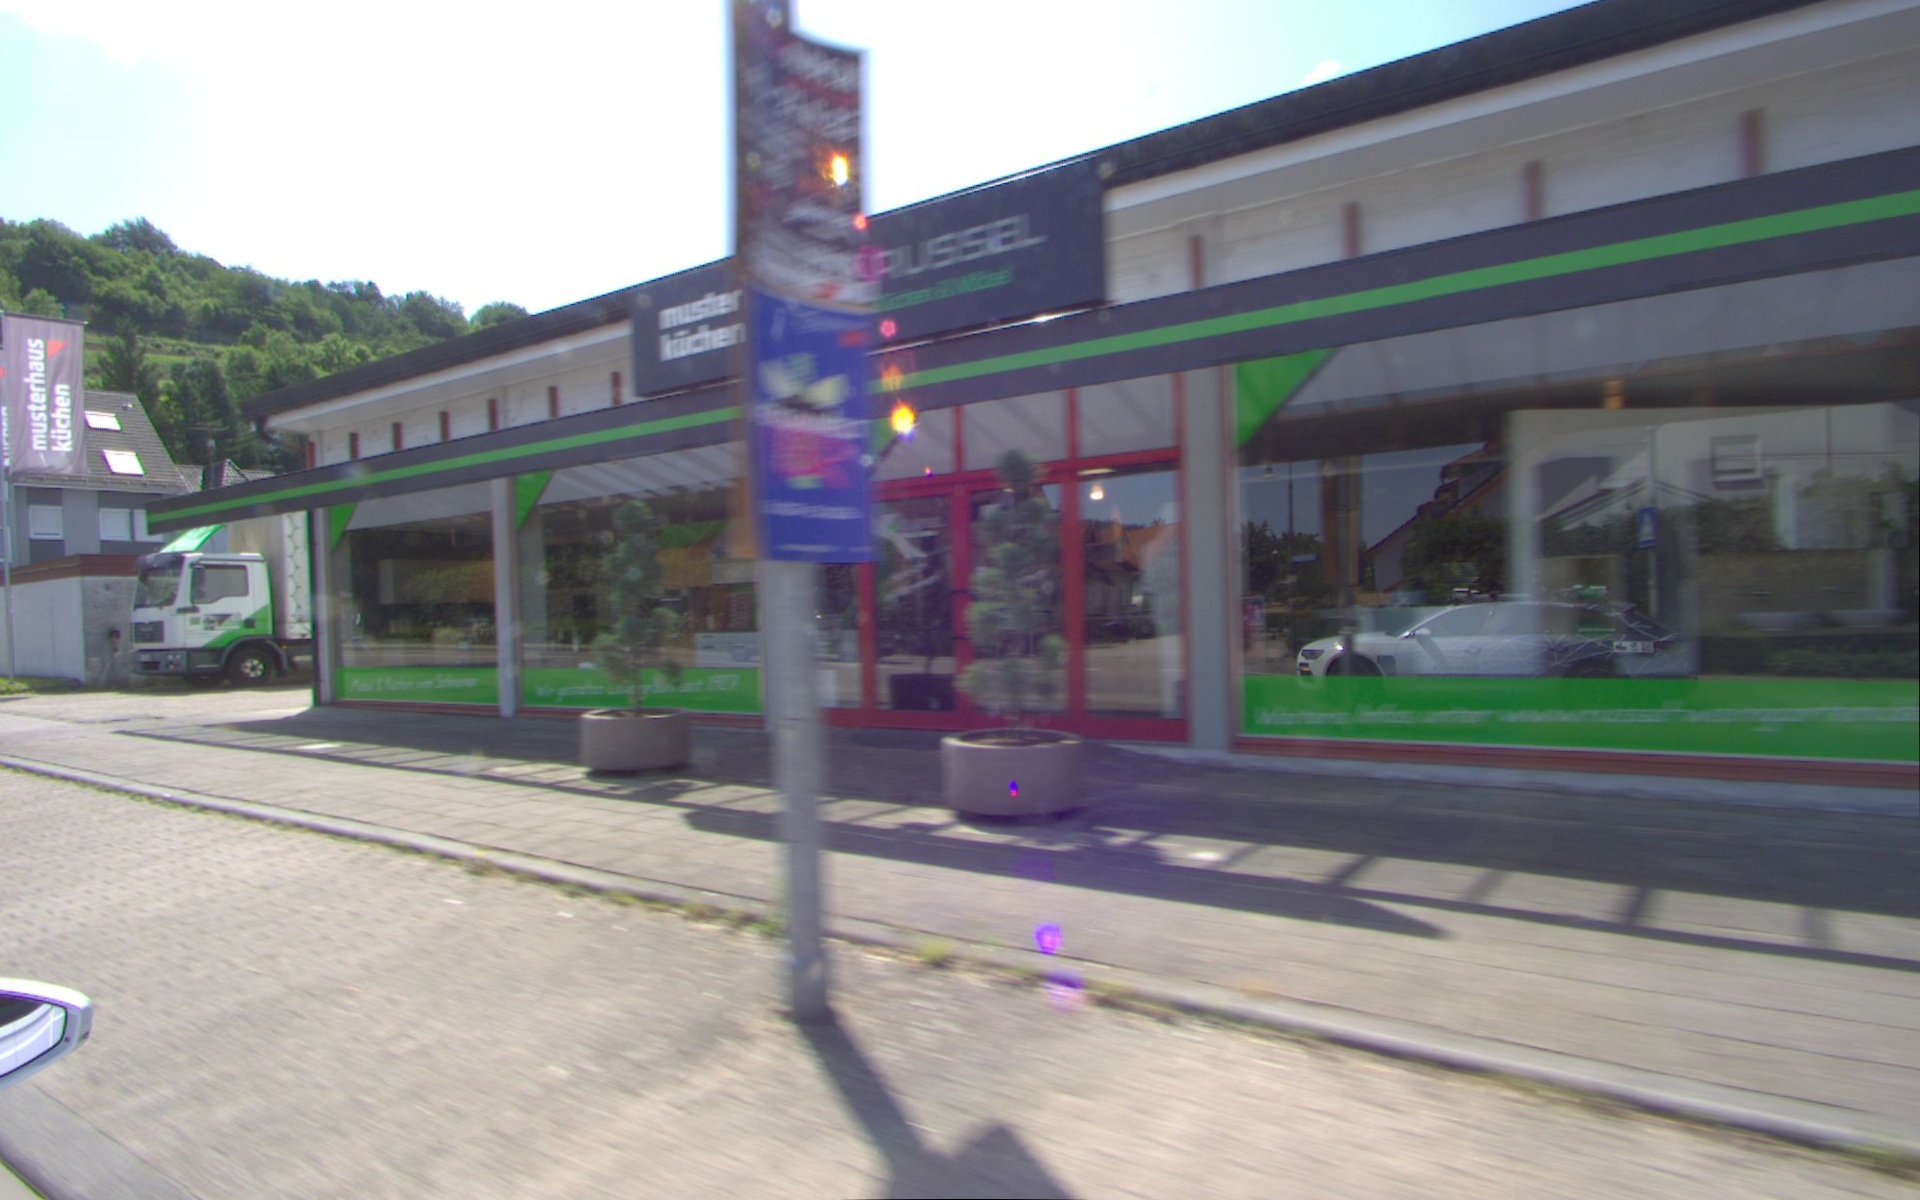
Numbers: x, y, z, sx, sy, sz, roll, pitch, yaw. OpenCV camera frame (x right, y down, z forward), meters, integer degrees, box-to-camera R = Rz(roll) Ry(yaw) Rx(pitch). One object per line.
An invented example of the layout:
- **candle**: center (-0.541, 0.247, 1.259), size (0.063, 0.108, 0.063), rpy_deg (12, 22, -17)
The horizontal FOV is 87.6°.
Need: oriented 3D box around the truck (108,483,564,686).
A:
- **truck**: center (-13.084, -0.212, 22.012), size (2.640, 3.618, 8.155), rpy_deg (-2, -1, 31)
